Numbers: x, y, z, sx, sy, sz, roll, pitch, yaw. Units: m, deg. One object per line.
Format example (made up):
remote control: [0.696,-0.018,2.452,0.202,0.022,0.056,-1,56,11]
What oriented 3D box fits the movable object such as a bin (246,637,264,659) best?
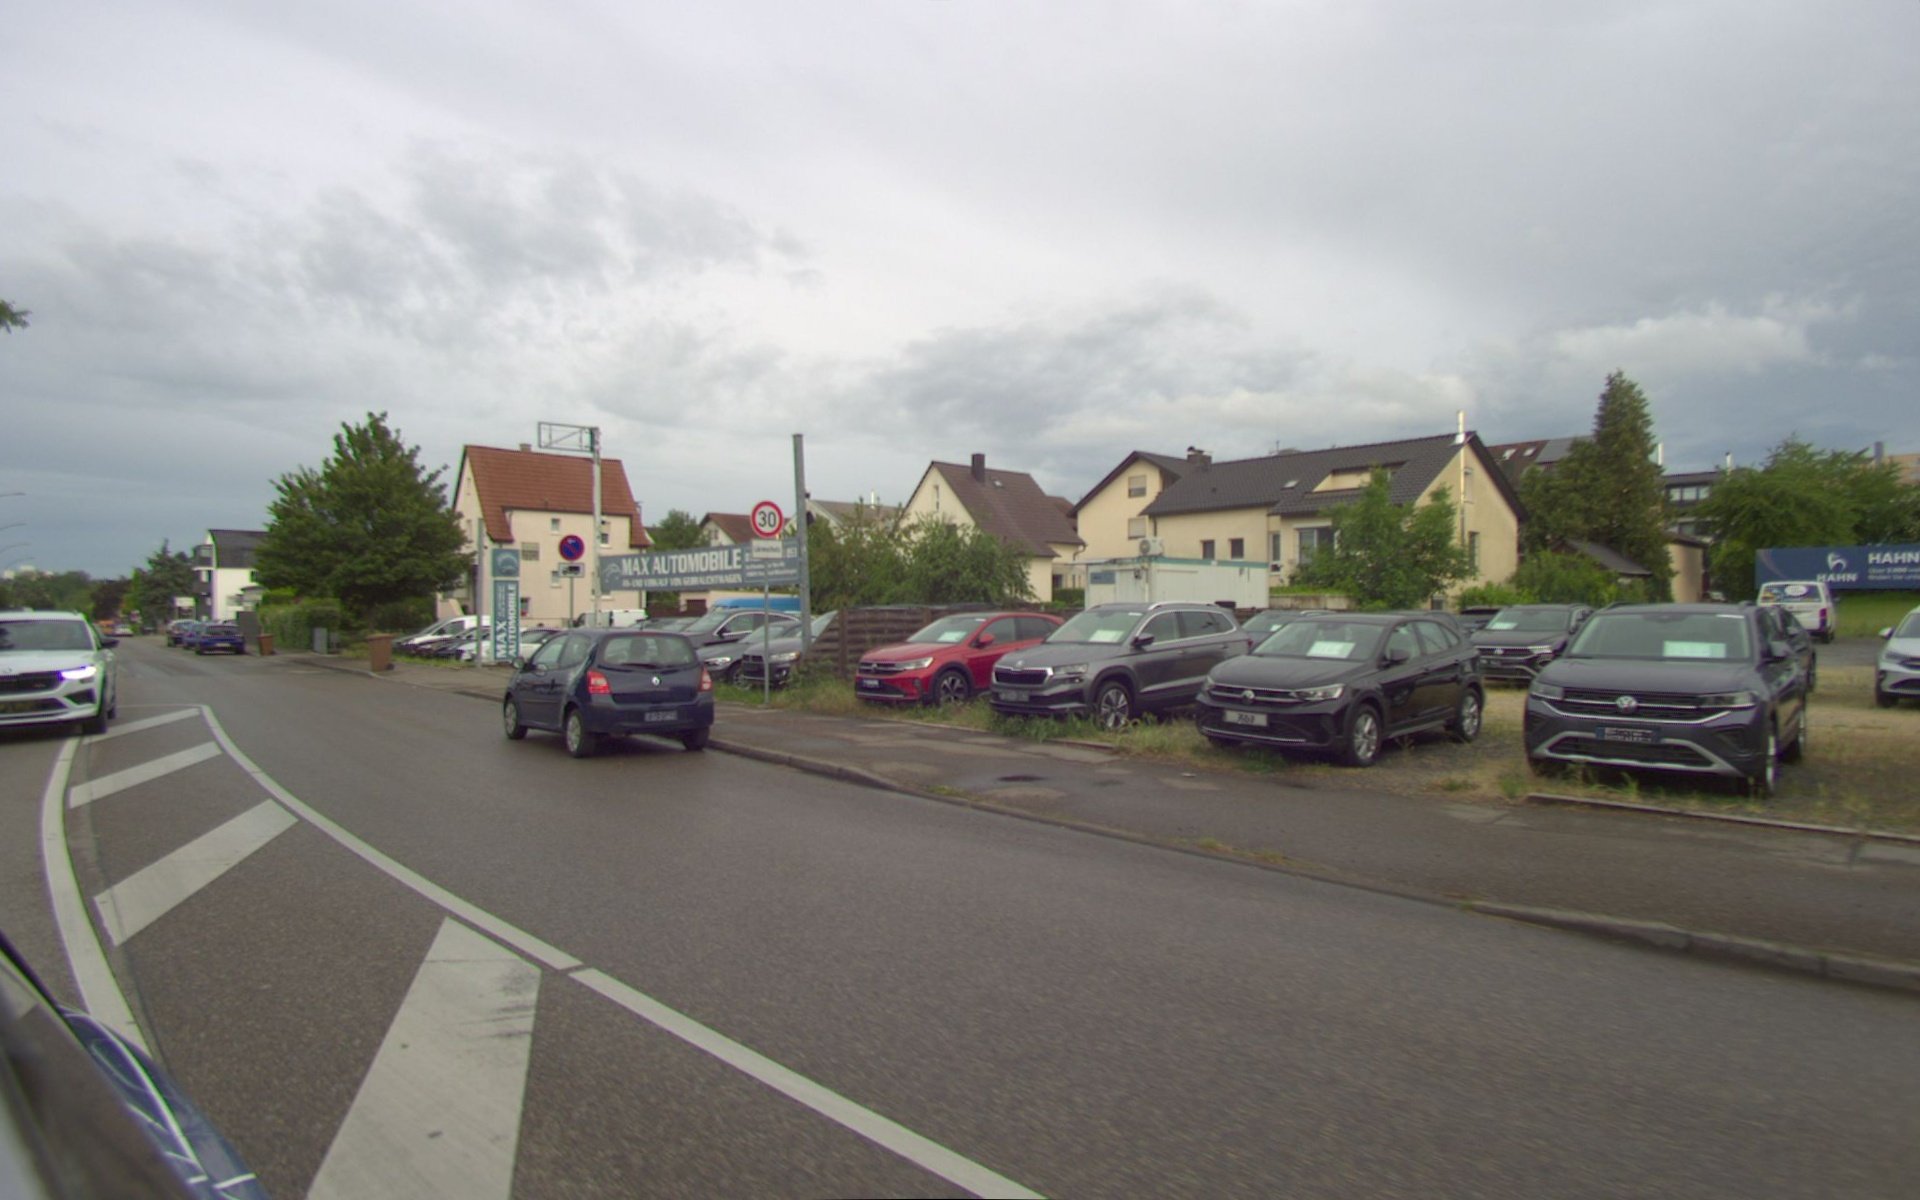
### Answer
movable object such as a bin: [-31.060,2.117,44.579,0.533,0.917,0.506,-3,1,-43]

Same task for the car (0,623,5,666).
car: [-38.677,1.763,39.299,2.065,1.674,4.565,-2,-1,-41]

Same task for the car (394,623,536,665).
car: [-18.762,1.631,38.489,1.898,1.429,4.506,-1,-1,44]

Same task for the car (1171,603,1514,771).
car: [4.320,0.820,11.179,3.937,1.452,1.807,-1,-1,-40]

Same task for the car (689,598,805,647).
car: [-11.014,1.118,52.618,5.601,2.392,2.049,-1,-1,-42]

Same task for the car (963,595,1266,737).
car: [2.148,0.772,13.500,3.937,1.555,1.807,-1,-1,-40]

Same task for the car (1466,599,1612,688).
car: [10.880,0.762,18.918,1.592,1.439,3.593,-3,-1,42]

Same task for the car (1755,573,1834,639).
car: [27.396,0.172,33.181,1.723,1.989,4.135,-3,-1,43]

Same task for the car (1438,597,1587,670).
car: [13.538,0.788,24.732,3.936,1.564,1.756,-2,-1,-38]

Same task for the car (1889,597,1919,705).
car: [14.942,0.749,14.750,3.714,1.475,1.593,3,-4,-41]

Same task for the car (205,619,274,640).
car: [-55.104,2.211,77.395,1.884,1.525,4.038,-2,-2,44]

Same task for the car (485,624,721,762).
car: [-4.606,1.041,12.760,1.606,1.444,3.689,0,-1,-40]

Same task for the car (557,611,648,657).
car: [-16.220,1.506,45.760,1.970,1.945,5.057,1,-2,-44]

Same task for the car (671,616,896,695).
car: [-3.662,1.090,21.401,4.294,1.442,1.962,0,-1,-41]

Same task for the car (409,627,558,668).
car: [-17.107,1.657,36.451,4.502,1.319,1.891,0,-1,-42]

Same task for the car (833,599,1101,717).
car: [0.181,0.819,15.899,3.937,1.555,1.807,-1,-1,-40]

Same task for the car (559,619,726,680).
car: [-8.577,1.293,27.513,3.938,1.475,1.842,0,-1,-41]

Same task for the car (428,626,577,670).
car: [-15.732,1.603,34.892,4.323,1.384,1.891,0,-1,-42]

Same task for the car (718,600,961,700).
car: [-2.240,0.868,19.511,4.294,1.703,1.962,0,-1,-41]

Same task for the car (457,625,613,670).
car: [-13.799,1.498,33.012,4.397,1.342,1.773,0,-1,-42]

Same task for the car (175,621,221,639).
car: [-86.134,3.360,114.406,3.942,1.659,2.001,-5,2,-44]

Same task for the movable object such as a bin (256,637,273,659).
movable object such as a bin: [-30.471,2.105,44.350,0.533,0.917,0.425,-3,1,-43]

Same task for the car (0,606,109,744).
car: [-13.189,0.973,14.114,1.856,1.673,4.836,1,-2,-42]

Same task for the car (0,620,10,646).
car: [-53.352,1.802,55.582,1.636,1.412,3.806,0,-1,-42]

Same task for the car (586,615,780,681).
car: [-6.927,1.153,25.530,4.294,1.475,1.944,0,-1,-41]

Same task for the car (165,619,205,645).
car: [-46.904,1.957,61.236,1.589,1.518,3.712,2,-2,-42]

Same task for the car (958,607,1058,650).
car: [1.893,1.090,39.326,3.688,1.583,1.790,0,-1,-41]

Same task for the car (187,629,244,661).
car: [-35.060,2.090,47.634,1.785,1.414,3.949,2,-2,-42]

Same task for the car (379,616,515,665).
car: [-20.479,1.566,40.529,1.898,1.804,4.506,-1,-1,44]

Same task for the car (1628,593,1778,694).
car: [11.940,0.633,16.185,1.518,1.385,3.593,-3,-1,42]

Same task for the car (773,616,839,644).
car: [-7.954,1.535,52.431,3.185,1.343,1.339,0,-1,-44]

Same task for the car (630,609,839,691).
car: [-5.181,1.089,23.530,4.294,1.704,2.061,0,-1,-41]

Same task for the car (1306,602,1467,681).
car: [8.976,0.819,21.184,3.587,1.439,1.595,-2,-1,-40]

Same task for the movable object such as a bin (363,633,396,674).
movable object such as a bin: [-17.057,1.557,29.712,0.699,1.138,0.736,-1,-1,-42]

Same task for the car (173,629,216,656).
car: [-41.880,2.294,55.343,1.527,1.414,3.601,2,-2,-42]

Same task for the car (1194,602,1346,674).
car: [7.135,0.832,23.146,3.587,1.439,1.594,-2,-1,-40]

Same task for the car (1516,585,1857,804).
car: [6.768,0.695,9.272,3.898,1.542,1.693,-2,-1,-42]
